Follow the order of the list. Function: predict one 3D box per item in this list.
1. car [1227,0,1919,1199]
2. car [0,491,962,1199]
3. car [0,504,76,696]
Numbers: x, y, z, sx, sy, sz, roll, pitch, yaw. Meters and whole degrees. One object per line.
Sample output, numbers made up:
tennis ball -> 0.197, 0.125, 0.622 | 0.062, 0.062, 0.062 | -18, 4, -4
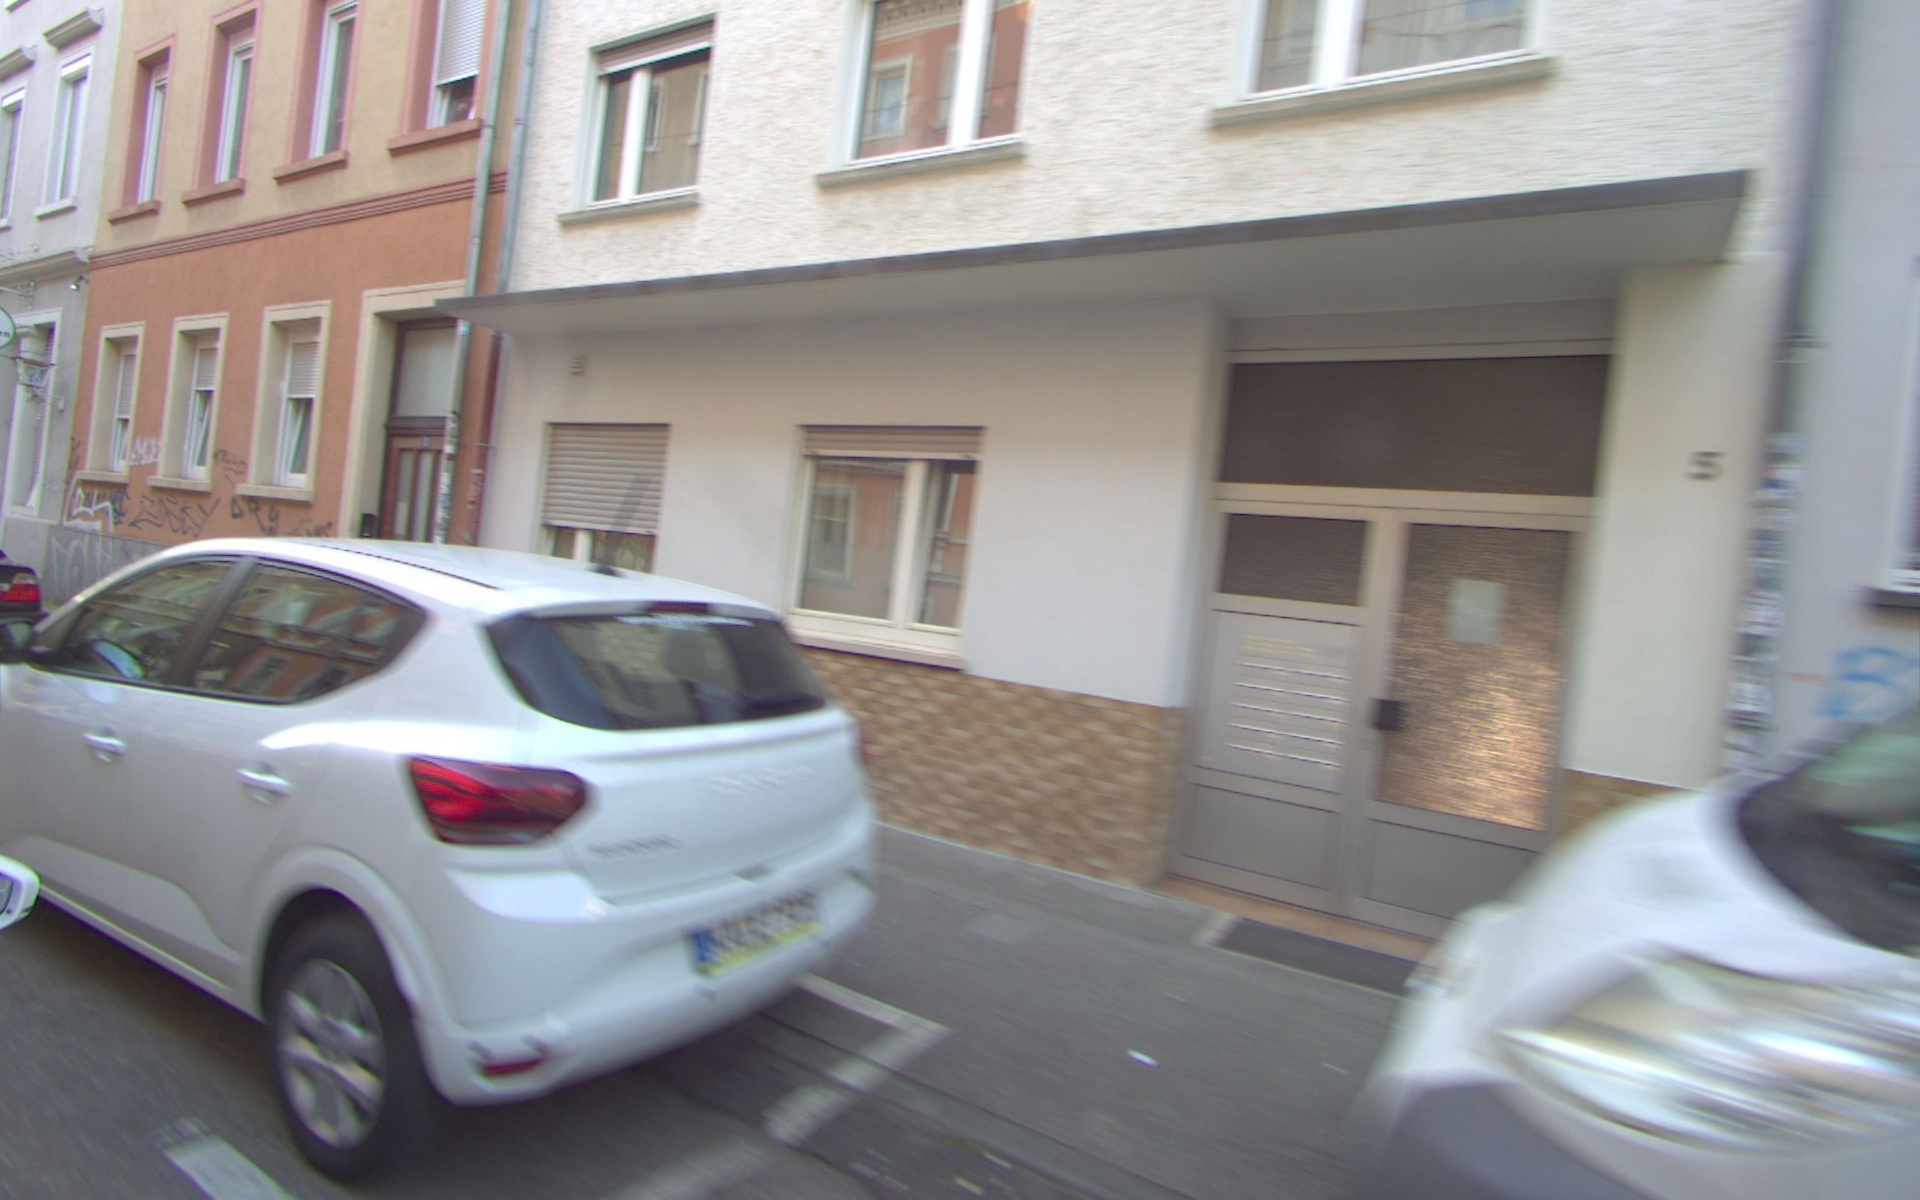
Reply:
car -> 3.455, 0.713, 0.645 | 5.936, 2.582, 2.207 | 7, 0, 32
car -> -2.201, 0.515, 3.770 | 3.952, 1.488, 1.734 | 7, 0, 29
car -> -8.729, -0.216, 7.733 | 3.932, 1.355, 1.660 | 7, 0, 30
